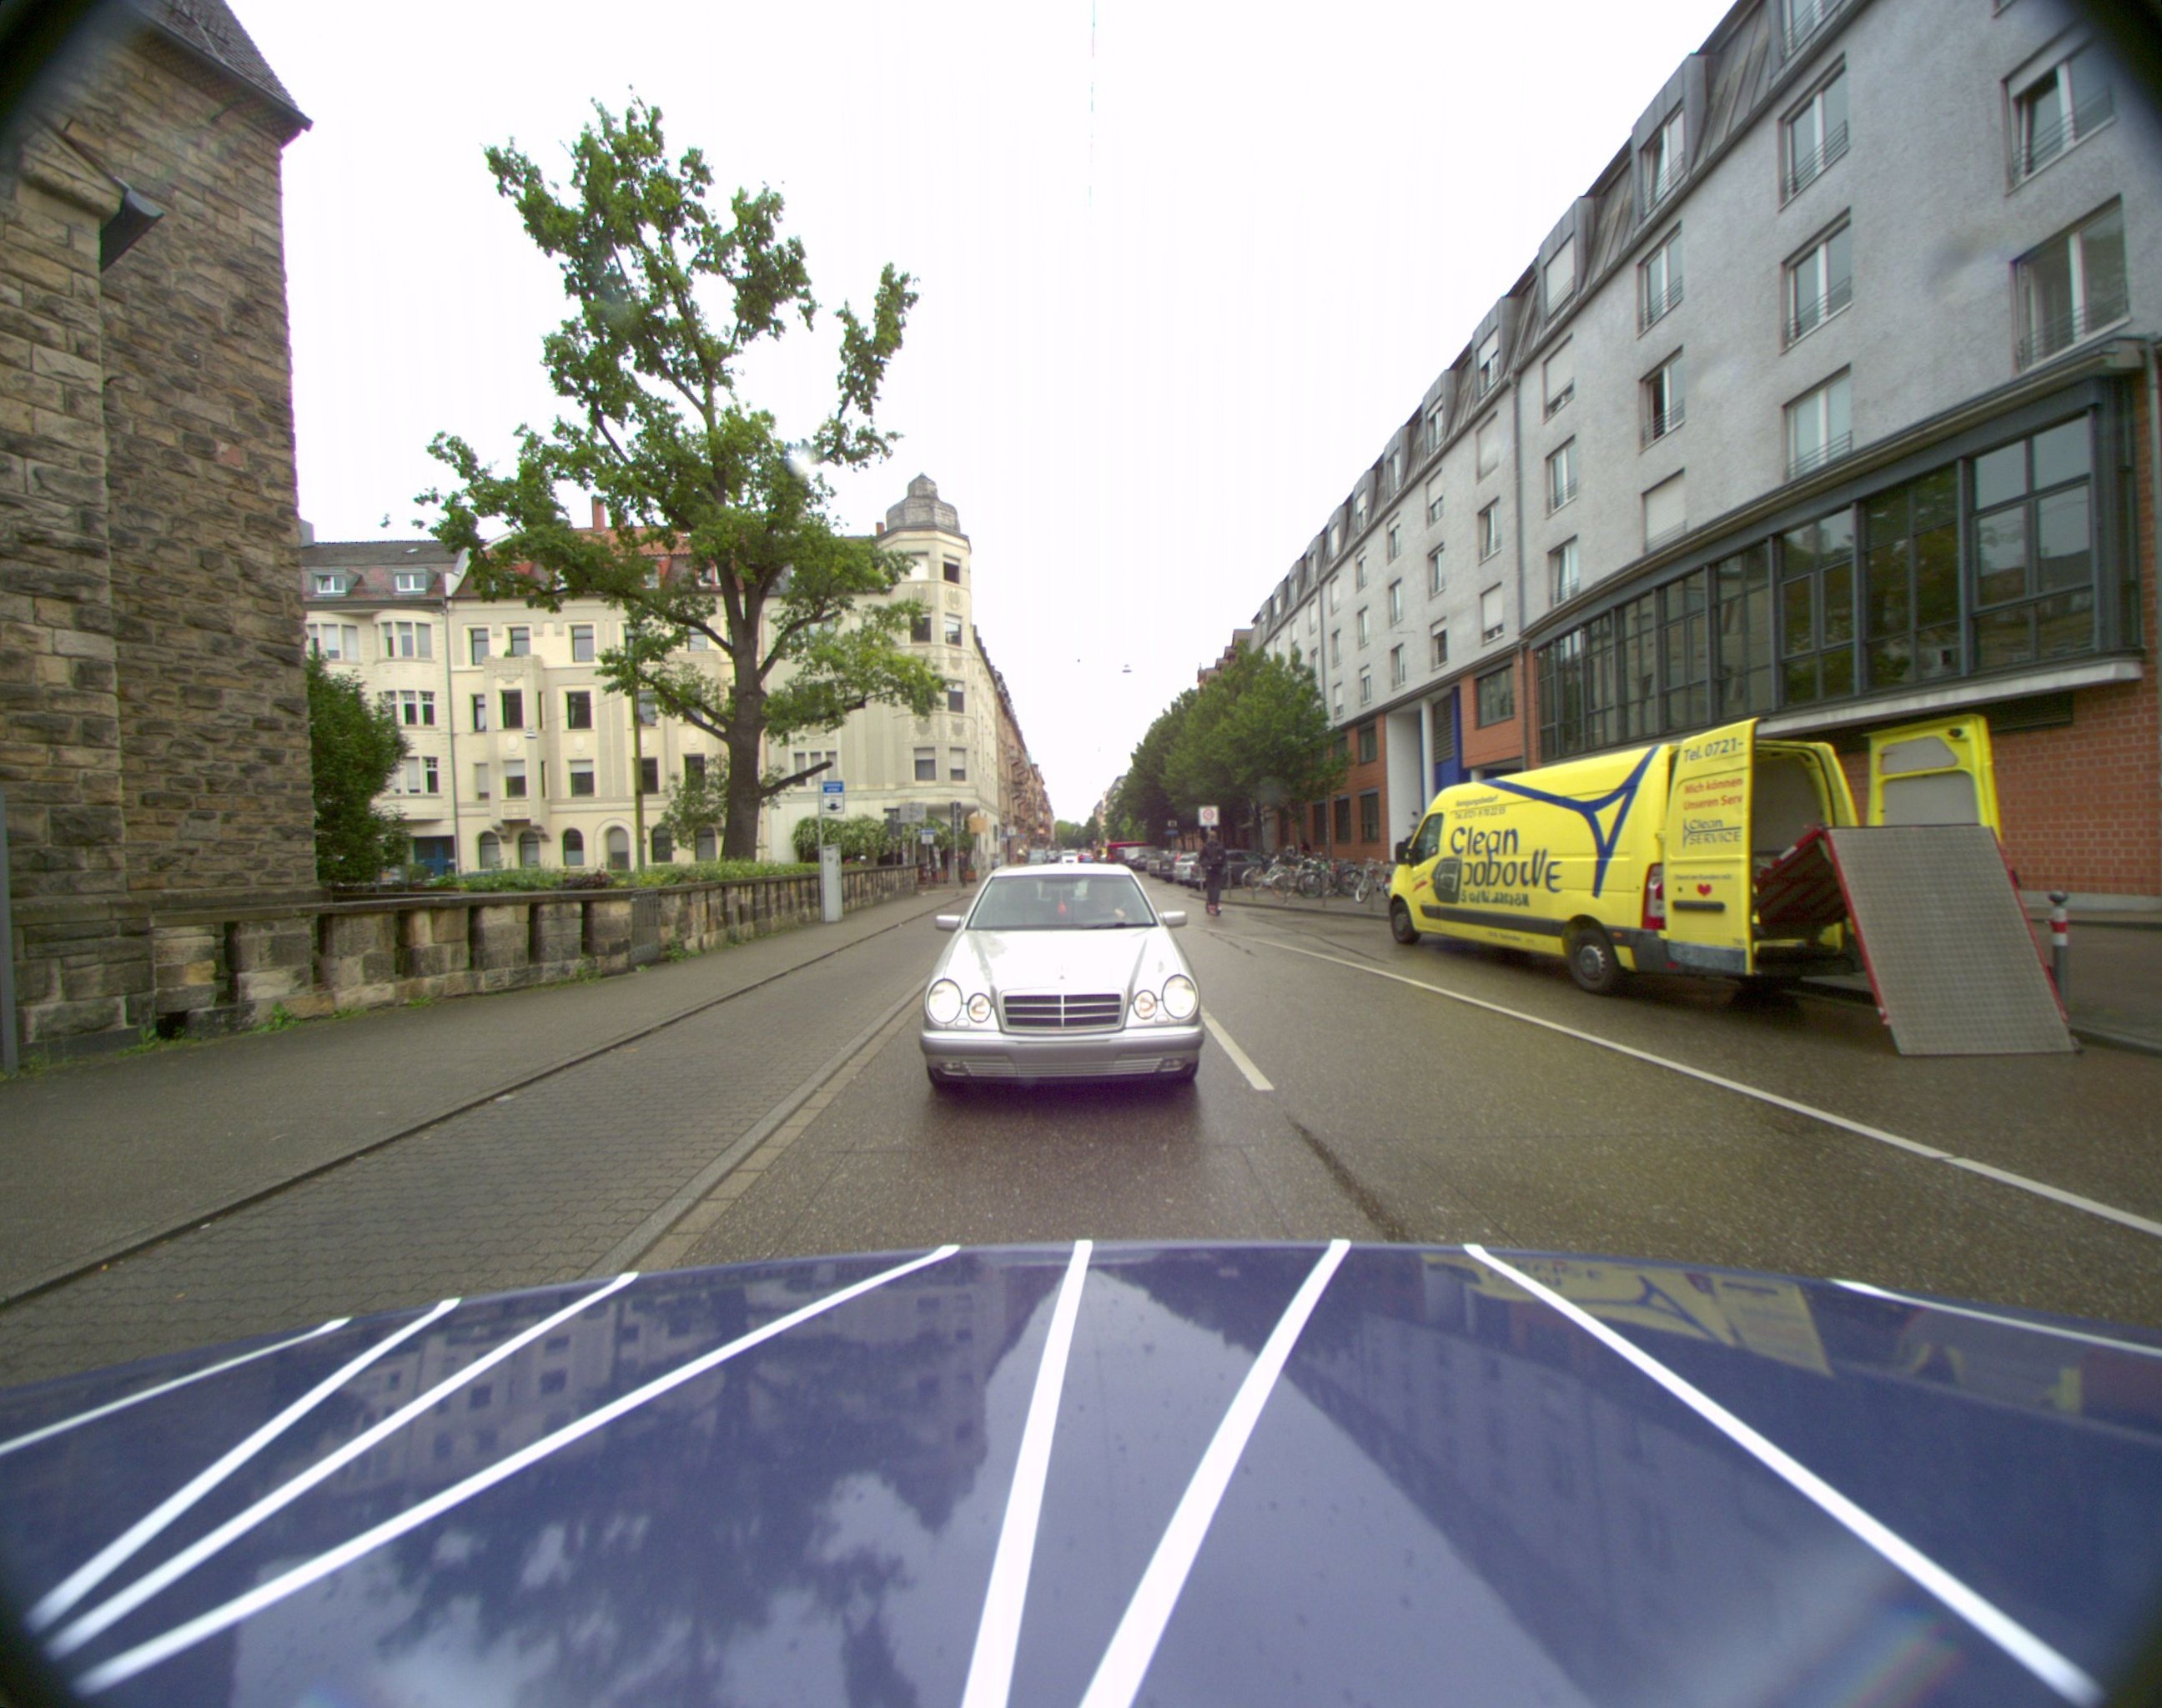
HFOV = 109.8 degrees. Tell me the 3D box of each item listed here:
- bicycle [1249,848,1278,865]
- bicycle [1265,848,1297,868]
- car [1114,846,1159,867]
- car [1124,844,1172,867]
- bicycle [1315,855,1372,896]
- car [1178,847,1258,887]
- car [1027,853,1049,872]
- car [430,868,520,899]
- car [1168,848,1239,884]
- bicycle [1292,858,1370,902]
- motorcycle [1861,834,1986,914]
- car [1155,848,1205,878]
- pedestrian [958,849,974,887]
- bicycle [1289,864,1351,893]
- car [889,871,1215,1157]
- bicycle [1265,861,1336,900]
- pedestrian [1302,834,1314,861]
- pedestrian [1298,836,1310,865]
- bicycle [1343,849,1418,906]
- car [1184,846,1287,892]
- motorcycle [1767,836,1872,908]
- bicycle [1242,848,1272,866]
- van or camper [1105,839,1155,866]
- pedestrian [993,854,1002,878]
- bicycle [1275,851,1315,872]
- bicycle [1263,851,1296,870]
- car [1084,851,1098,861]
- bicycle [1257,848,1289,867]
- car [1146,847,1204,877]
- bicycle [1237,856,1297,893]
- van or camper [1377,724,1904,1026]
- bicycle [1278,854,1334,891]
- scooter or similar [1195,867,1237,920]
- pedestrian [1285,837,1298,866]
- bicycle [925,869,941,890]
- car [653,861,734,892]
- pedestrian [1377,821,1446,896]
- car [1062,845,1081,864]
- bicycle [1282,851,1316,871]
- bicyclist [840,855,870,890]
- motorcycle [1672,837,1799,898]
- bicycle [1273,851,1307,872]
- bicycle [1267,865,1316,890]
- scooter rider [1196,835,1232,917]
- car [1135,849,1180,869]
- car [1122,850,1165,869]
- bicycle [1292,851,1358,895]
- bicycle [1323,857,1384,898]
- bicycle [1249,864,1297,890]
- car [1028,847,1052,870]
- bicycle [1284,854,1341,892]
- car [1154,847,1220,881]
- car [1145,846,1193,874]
[{"bbox_3d":[10.792,0.127,44.986,1.590,0.979,0.465,-2,1,-8],"label":"bicycle"},{"bbox_3d":[10.678,0.205,40.652,1.590,0.979,0.445,-2,1,-8],"label":"bicycle"},{"bbox_3d":[5.188,0.214,70.679,4.338,1.822,1.571,-1,1,-41],"label":"car"},{"bbox_3d":[5.978,0.113,67.167,4.338,1.884,1.685,-1,1,-41],"label":"car"},{"bbox_3d":[7.473,0.615,21.700,1.461,1.096,0.462,-3,1,14],"label":"bicycle"},{"bbox_3d":[5.793,0.535,31.994,3.083,1.494,1.449,-3,1,-31],"label":"car"},{"bbox_3d":[-3.138,0.630,56.447,1.447,1.348,3.204,-1,0,0],"label":"car"},{"bbox_3d":[-29.657,1.420,37.256,3.270,1.401,1.448,-1,1,3],"label":"car"},{"bbox_3d":[5.602,0.528,34.602,3.084,1.494,1.449,-3,1,-40],"label":"car"},{"bbox_3d":[6.710,0.704,20.422,1.858,1.067,0.609,-3,1,5],"label":"bicycle"},{"bbox_3d":[13.296,0.279,12.052,0.524,1.174,1.760,-3,1,19],"label":"motorcycle"},{"bbox_3d":[5.313,0.475,40.719,2.506,1.442,1.191,-3,1,-40],"label":"car"},{"bbox_3d":[-5.664,0.686,37.395,0.646,1.862,0.693,-1,1,0],"label":"pedestrian"},{"bbox_3d":[7.275,0.748,23.150,1.773,0.757,0.456,-3,1,-13],"label":"bicycle"},{"bbox_3d":[-0.156,0.931,6.200,1.764,1.420,3.999,-2,0,0],"label":"car"},{"bbox_3d":[6.131,0.736,21.259,1.800,0.987,0.520,-3,1,-2],"label":"bicycle"},{"bbox_3d":[13.132,-0.373,44.014,0.516,1.521,0.547,-1,1,-3],"label":"pedestrian"},{"bbox_3d":[12.384,-0.183,42.284,0.514,1.601,0.425,-2,1,1],"label":"pedestrian"},{"bbox_3d":[7.523,0.559,19.027,1.922,1.209,0.768,-6,3,-35],"label":"bicycle"},{"bbox_3d":[5.918,0.535,29.067,3.629,1.494,1.736,-3,2,-31],"label":"car"},{"bbox_3d":[13.069,0.285,13.524,0.524,1.174,2.006,-3,1,19],"label":"motorcycle"},{"bbox_3d":[10.207,0.155,44.091,1.590,0.979,0.465,-2,1,-8],"label":"bicycle"},{"bbox_3d":[4.964,-0.134,76.600,4.604,2.597,1.999,-1,1,-27],"label":"van or camper"},{"bbox_3d":[-5.115,0.706,46.323,0.482,1.452,0.392,-1,1,-1],"label":"pedestrian"},{"bbox_3d":[10.604,0.376,37.644,1.851,0.979,0.445,-2,1,-8],"label":"bicycle"},{"bbox_3d":[10.468,0.333,40.032,1.590,0.979,0.445,-2,1,-8],"label":"bicycle"},{"bbox_3d":[1.282,0.220,98.308,1.651,1.301,3.311,-1,0,-3],"label":"car"},{"bbox_3d":[10.561,0.187,41.816,1.590,0.979,0.465,-2,1,-8],"label":"bicycle"},{"bbox_3d":[5.361,0.452,43.227,2.985,1.546,1.369,-3,1,-29],"label":"car"},{"bbox_3d":[6.111,0.677,24.934,1.812,1.099,0.472,-3,1,-5],"label":"bicycle"},{"bbox_3d":[6.044,0.167,9.589,2.201,2.596,5.941,-1,0,-1],"label":"van or camper"},{"bbox_3d":[7.230,0.596,24.453,1.610,1.099,0.520,-3,1,-5],"label":"bicycle"},{"bbox_3d":[3.188,0.912,18.100,0.702,1.158,1.385,-1,1,-2],"label":"scooter or similar"},{"bbox_3d":[11.745,-0.146,42.456,0.605,1.601,0.372,-2,1,-1],"label":"pedestrian"},{"bbox_3d":[-7.311,1.236,37.681,0.390,0.888,2.023,-1,3,0],"label":"bicycle"},{"bbox_3d":[-19.248,1.107,37.837,3.270,1.401,1.448,-1,1,3],"label":"car"},{"bbox_3d":[8.919,0.115,20.564,1.228,1.870,1.055,-6,1,0],"label":"pedestrian"},{"bbox_3d":[-1.056,0.072,85.420,1.998,2.002,4.000,-1,1,1],"label":"car"},{"bbox_3d":[11.100,0.350,38.661,1.590,0.979,0.445,-2,1,-8],"label":"bicycle"},{"bbox_3d":[-10.103,0.824,33.944,1.133,1.521,0.537,-2,1,3],"label":"bicyclist"},{"bbox_3d":[13.435,0.254,15.699,0.651,1.150,2.204,-3,0,-2],"label":"motorcycle"},{"bbox_3d":[10.476,0.370,38.117,1.590,0.979,0.445,-2,1,-8],"label":"bicycle"},{"bbox_3d":[7.041,0.777,25.395,1.473,0.717,0.497,-3,1,3],"label":"bicycle"},{"bbox_3d":[3.177,0.511,18.164,0.712,1.924,0.503,-1,1,-2],"label":"scooter rider"},{"bbox_3d":[6.129,0.408,60.421,1.685,1.482,3.799,0,1,40],"label":"car"},{"bbox_3d":[5.190,0.438,62.936,1.685,1.482,3.799,0,1,40],"label":"car"},{"bbox_3d":[7.256,0.557,22.558,1.815,1.187,0.519,-3,1,-13],"label":"bicycle"},{"bbox_3d":[7.497,0.638,20.927,1.462,1.058,0.418,-3,1,4],"label":"bicycle"},{"bbox_3d":[6.563,0.783,26.022,1.473,0.800,0.497,-3,1,3],"label":"bicycle"},{"bbox_3d":[-3.309,0.311,61.516,1.726,1.794,3.462,-1,0,0],"label":"car"},{"bbox_3d":[7.249,0.586,23.776,1.611,1.099,0.519,-3,1,-13],"label":"bicycle"},{"bbox_3d":[5.241,0.483,37.487,3.084,1.543,1.449,-3,1,-40],"label":"car"},{"bbox_3d":[5.331,0.382,45.984,2.685,1.546,1.148,-3,1,-29],"label":"car"}]
